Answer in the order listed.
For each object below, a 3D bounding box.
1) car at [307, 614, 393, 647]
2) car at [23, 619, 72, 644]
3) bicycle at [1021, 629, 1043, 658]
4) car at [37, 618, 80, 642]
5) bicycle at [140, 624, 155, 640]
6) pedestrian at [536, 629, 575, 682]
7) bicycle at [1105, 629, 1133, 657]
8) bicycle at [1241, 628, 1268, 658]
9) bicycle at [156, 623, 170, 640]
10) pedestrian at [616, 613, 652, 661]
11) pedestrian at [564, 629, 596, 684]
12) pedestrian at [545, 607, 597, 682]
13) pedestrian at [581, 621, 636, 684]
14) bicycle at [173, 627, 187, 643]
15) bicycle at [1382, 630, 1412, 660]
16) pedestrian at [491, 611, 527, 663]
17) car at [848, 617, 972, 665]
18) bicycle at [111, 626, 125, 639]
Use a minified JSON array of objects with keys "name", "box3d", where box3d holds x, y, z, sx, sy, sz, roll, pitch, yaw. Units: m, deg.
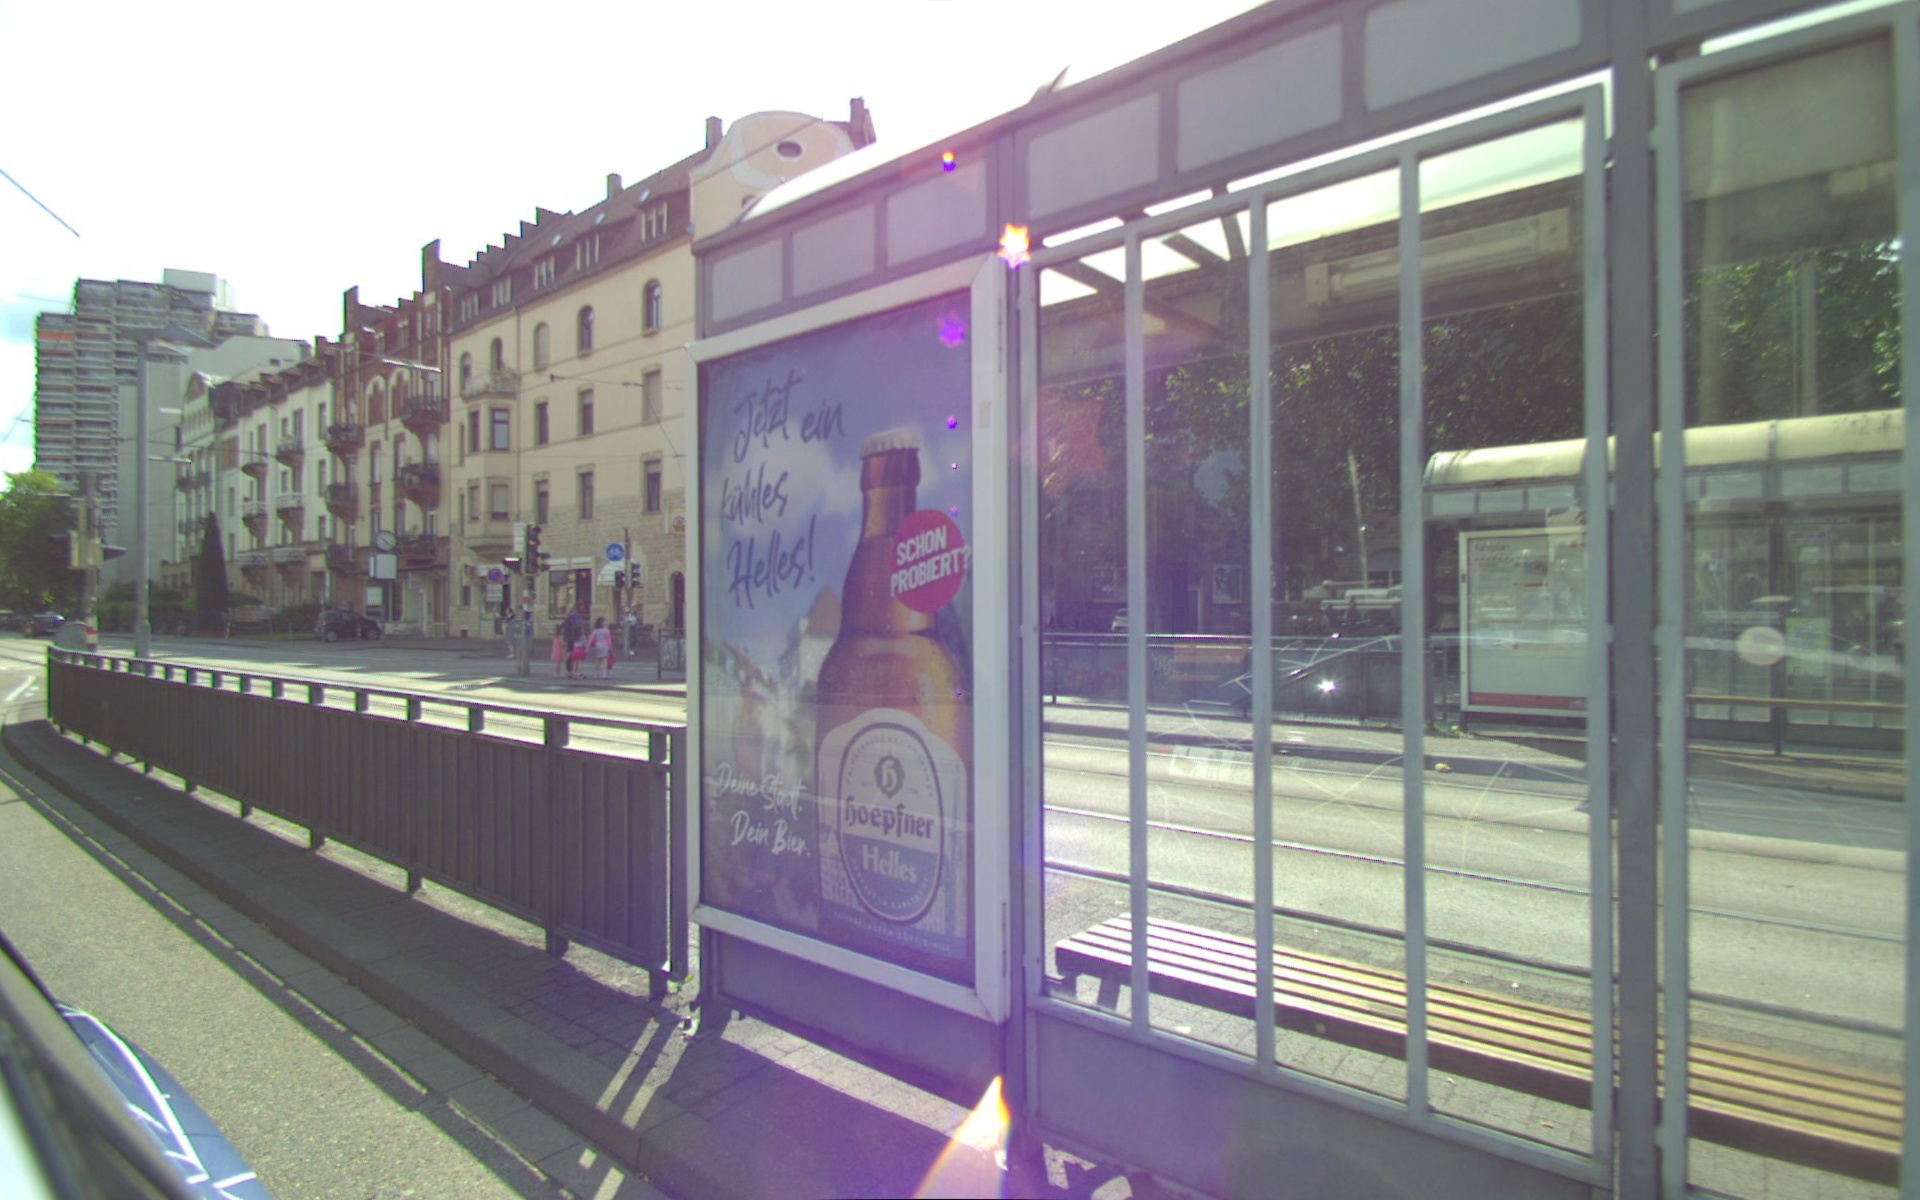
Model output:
[{"name":"car","box3d":[-31.134,1.534,51.691,1.706,1.497,3.408,-1,1,42]},{"name":"car","box3d":[-54.101,1.870,60.008,3.432,1.398,1.609,-1,-3,39]},{"name":"bicycle","box3d":[2.478,1.484,34.987,0.504,0.889,2.033,0,0,-3]},{"name":"car","box3d":[-65.993,2.170,74.080,4.328,1.724,1.773,-1,-1,40]},{"name":"bicycle","box3d":[-54.374,2.129,67.704,0.579,0.993,1.874,0,0,-45]},{"name":"pedestrian","box3d":[-8.774,1.196,21.957,0.443,1.122,0.635,-1,-1,36]},{"name":"bicycle","box3d":[5.502,1.480,35.070,0.538,0.889,2.033,0,0,-3]},{"name":"bicycle","box3d":[10.067,1.455,34.684,0.540,0.905,2.027,0,0,6]},{"name":"bicycle","box3d":[-50.991,1.981,64.751,0.532,1.037,1.874,0,0,-45]},{"name":"pedestrian","box3d":[-11.080,1.242,34.362,0.963,1.553,0.686,-1,3,42]},{"name":"pedestrian","box3d":[-7.935,1.178,21.161,0.422,1.116,0.433,-1,-3,36]},{"name":"pedestrian","box3d":[-8.302,0.935,21.624,0.798,1.577,0.721,-1,-1,36]},{"name":"pedestrian","box3d":[-7.512,1.116,21.637,0.716,1.314,0.818,-1,-3,36]},{"name":"bicycle","box3d":[-46.709,2.088,60.611,0.517,0.913,2.070,1,1,-42]},{"name":"bicycle","box3d":[14.519,1.475,33.642,0.566,0.905,2.023,0,0,13]},{"name":"pedestrian","box3d":[-15.608,1.270,35.014,0.873,1.717,0.749,-1,3,40]},{"name":"car","box3d":[-1.617,1.264,31.922,3.814,1.431,1.723,0,-1,-6]},{"name":"bicycle","box3d":[-59.381,2.270,71.336,0.579,0.803,1.874,-3,2,-45]}]
